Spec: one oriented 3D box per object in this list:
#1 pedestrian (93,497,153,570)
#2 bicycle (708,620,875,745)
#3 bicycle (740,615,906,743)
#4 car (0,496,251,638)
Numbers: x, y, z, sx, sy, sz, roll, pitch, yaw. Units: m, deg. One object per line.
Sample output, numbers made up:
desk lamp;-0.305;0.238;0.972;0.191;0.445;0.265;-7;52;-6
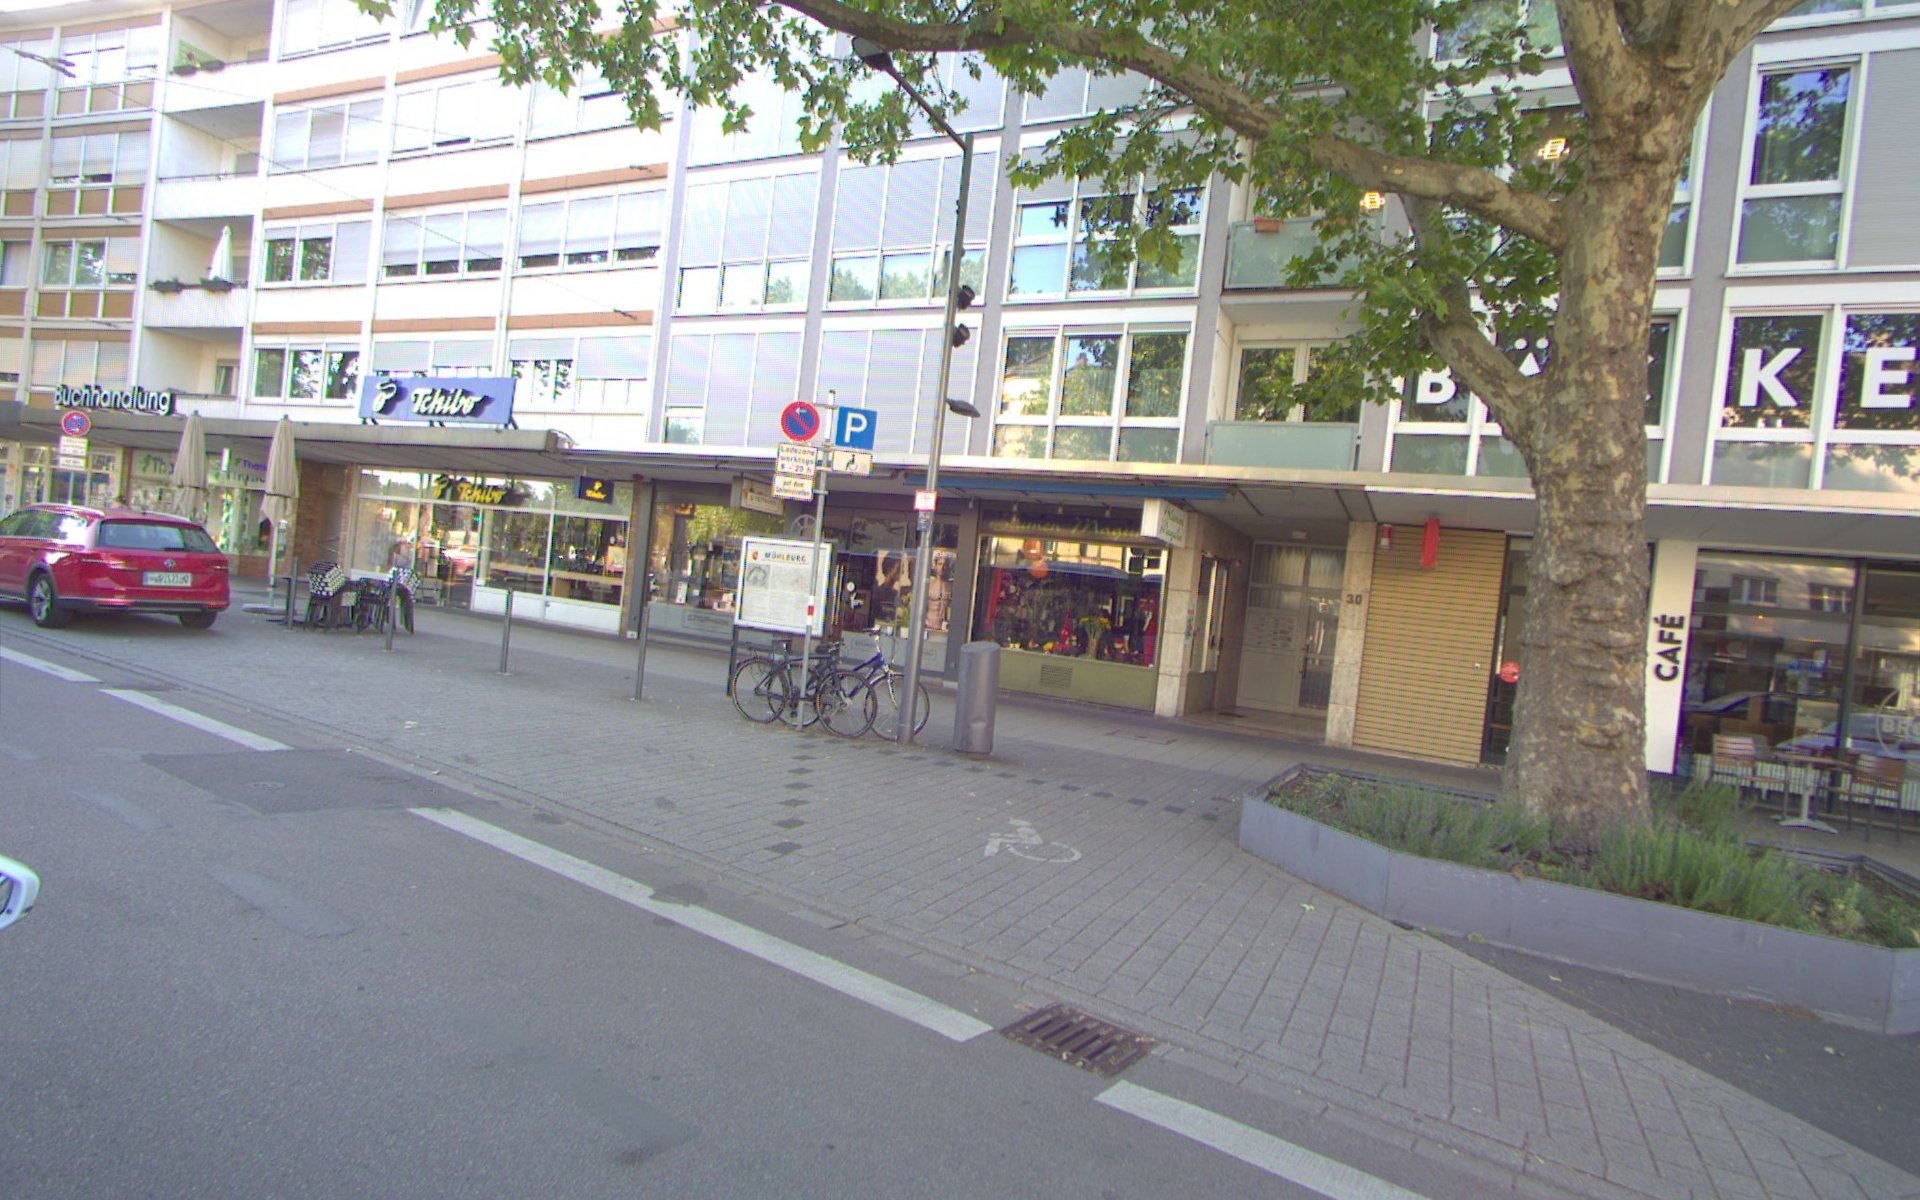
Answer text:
pedestrian;-19.603;-1.544;23.566;0.792;1.571;0.641;6;1;17
bicycle;-1.757;0.836;10.423;1.686;1.055;0.294;6;4;17
bicycle;-1.459;0.813;10.626;1.686;1.116;0.294;6;4;17
car;-11.760;-0.504;13.505;4.488;1.516;1.780;6;2;28
